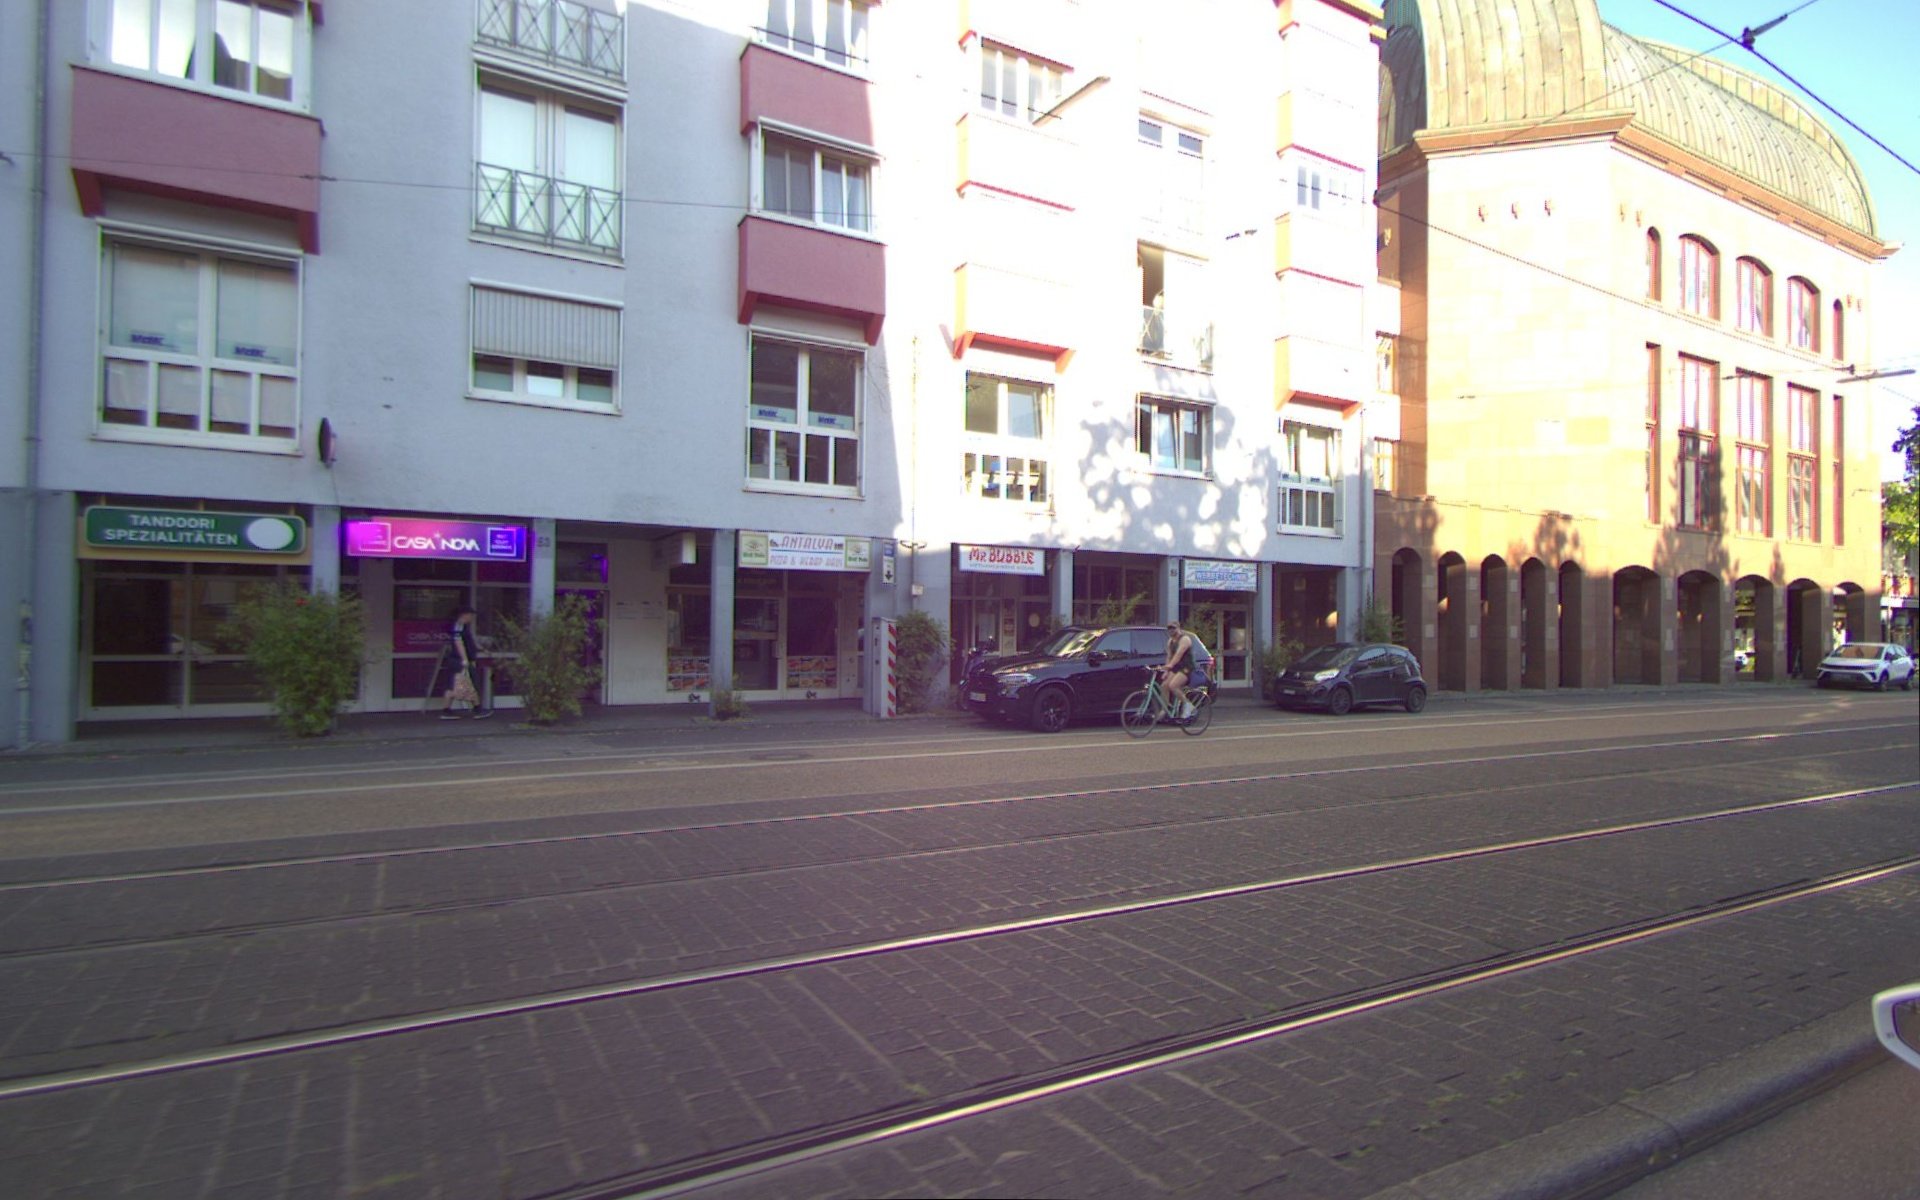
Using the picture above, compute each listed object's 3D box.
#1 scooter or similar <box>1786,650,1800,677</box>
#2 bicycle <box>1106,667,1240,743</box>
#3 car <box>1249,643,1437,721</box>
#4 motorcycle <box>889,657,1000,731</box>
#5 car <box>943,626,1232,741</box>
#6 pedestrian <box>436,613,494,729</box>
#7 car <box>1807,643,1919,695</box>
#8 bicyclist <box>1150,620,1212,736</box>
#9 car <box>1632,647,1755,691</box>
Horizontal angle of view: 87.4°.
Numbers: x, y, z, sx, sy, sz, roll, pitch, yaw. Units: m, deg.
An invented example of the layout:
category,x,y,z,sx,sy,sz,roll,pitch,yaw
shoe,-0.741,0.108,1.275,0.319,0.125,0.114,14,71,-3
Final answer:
category,x,y,z,sx,sy,sz,roll,pitch,yaw
scooter or similar,31.014,2.343,37.394,0.358,0.951,0.968,3,1,40
bicycle,3.301,1.589,15.495,2.159,1.091,0.580,2,-3,-29
car,8.187,1.707,21.498,3.537,1.470,1.863,2,-1,-27
motorcycle,-0.246,1.660,18.096,0.662,1.221,2.128,2,-1,44
car,2.300,1.419,17.779,4.763,1.735,2.081,3,-1,-30
pedestrian,-7.615,1.073,15.440,0.737,1.734,0.611,1,-1,-31
car,31.172,2.321,34.603,4.207,1.621,1.859,1,-1,-32
bicyclist,3.422,1.198,15.574,0.736,1.734,0.569,1,-3,-29
car,38.304,3.574,52.570,2.135,2.020,4.873,1,-1,-41
